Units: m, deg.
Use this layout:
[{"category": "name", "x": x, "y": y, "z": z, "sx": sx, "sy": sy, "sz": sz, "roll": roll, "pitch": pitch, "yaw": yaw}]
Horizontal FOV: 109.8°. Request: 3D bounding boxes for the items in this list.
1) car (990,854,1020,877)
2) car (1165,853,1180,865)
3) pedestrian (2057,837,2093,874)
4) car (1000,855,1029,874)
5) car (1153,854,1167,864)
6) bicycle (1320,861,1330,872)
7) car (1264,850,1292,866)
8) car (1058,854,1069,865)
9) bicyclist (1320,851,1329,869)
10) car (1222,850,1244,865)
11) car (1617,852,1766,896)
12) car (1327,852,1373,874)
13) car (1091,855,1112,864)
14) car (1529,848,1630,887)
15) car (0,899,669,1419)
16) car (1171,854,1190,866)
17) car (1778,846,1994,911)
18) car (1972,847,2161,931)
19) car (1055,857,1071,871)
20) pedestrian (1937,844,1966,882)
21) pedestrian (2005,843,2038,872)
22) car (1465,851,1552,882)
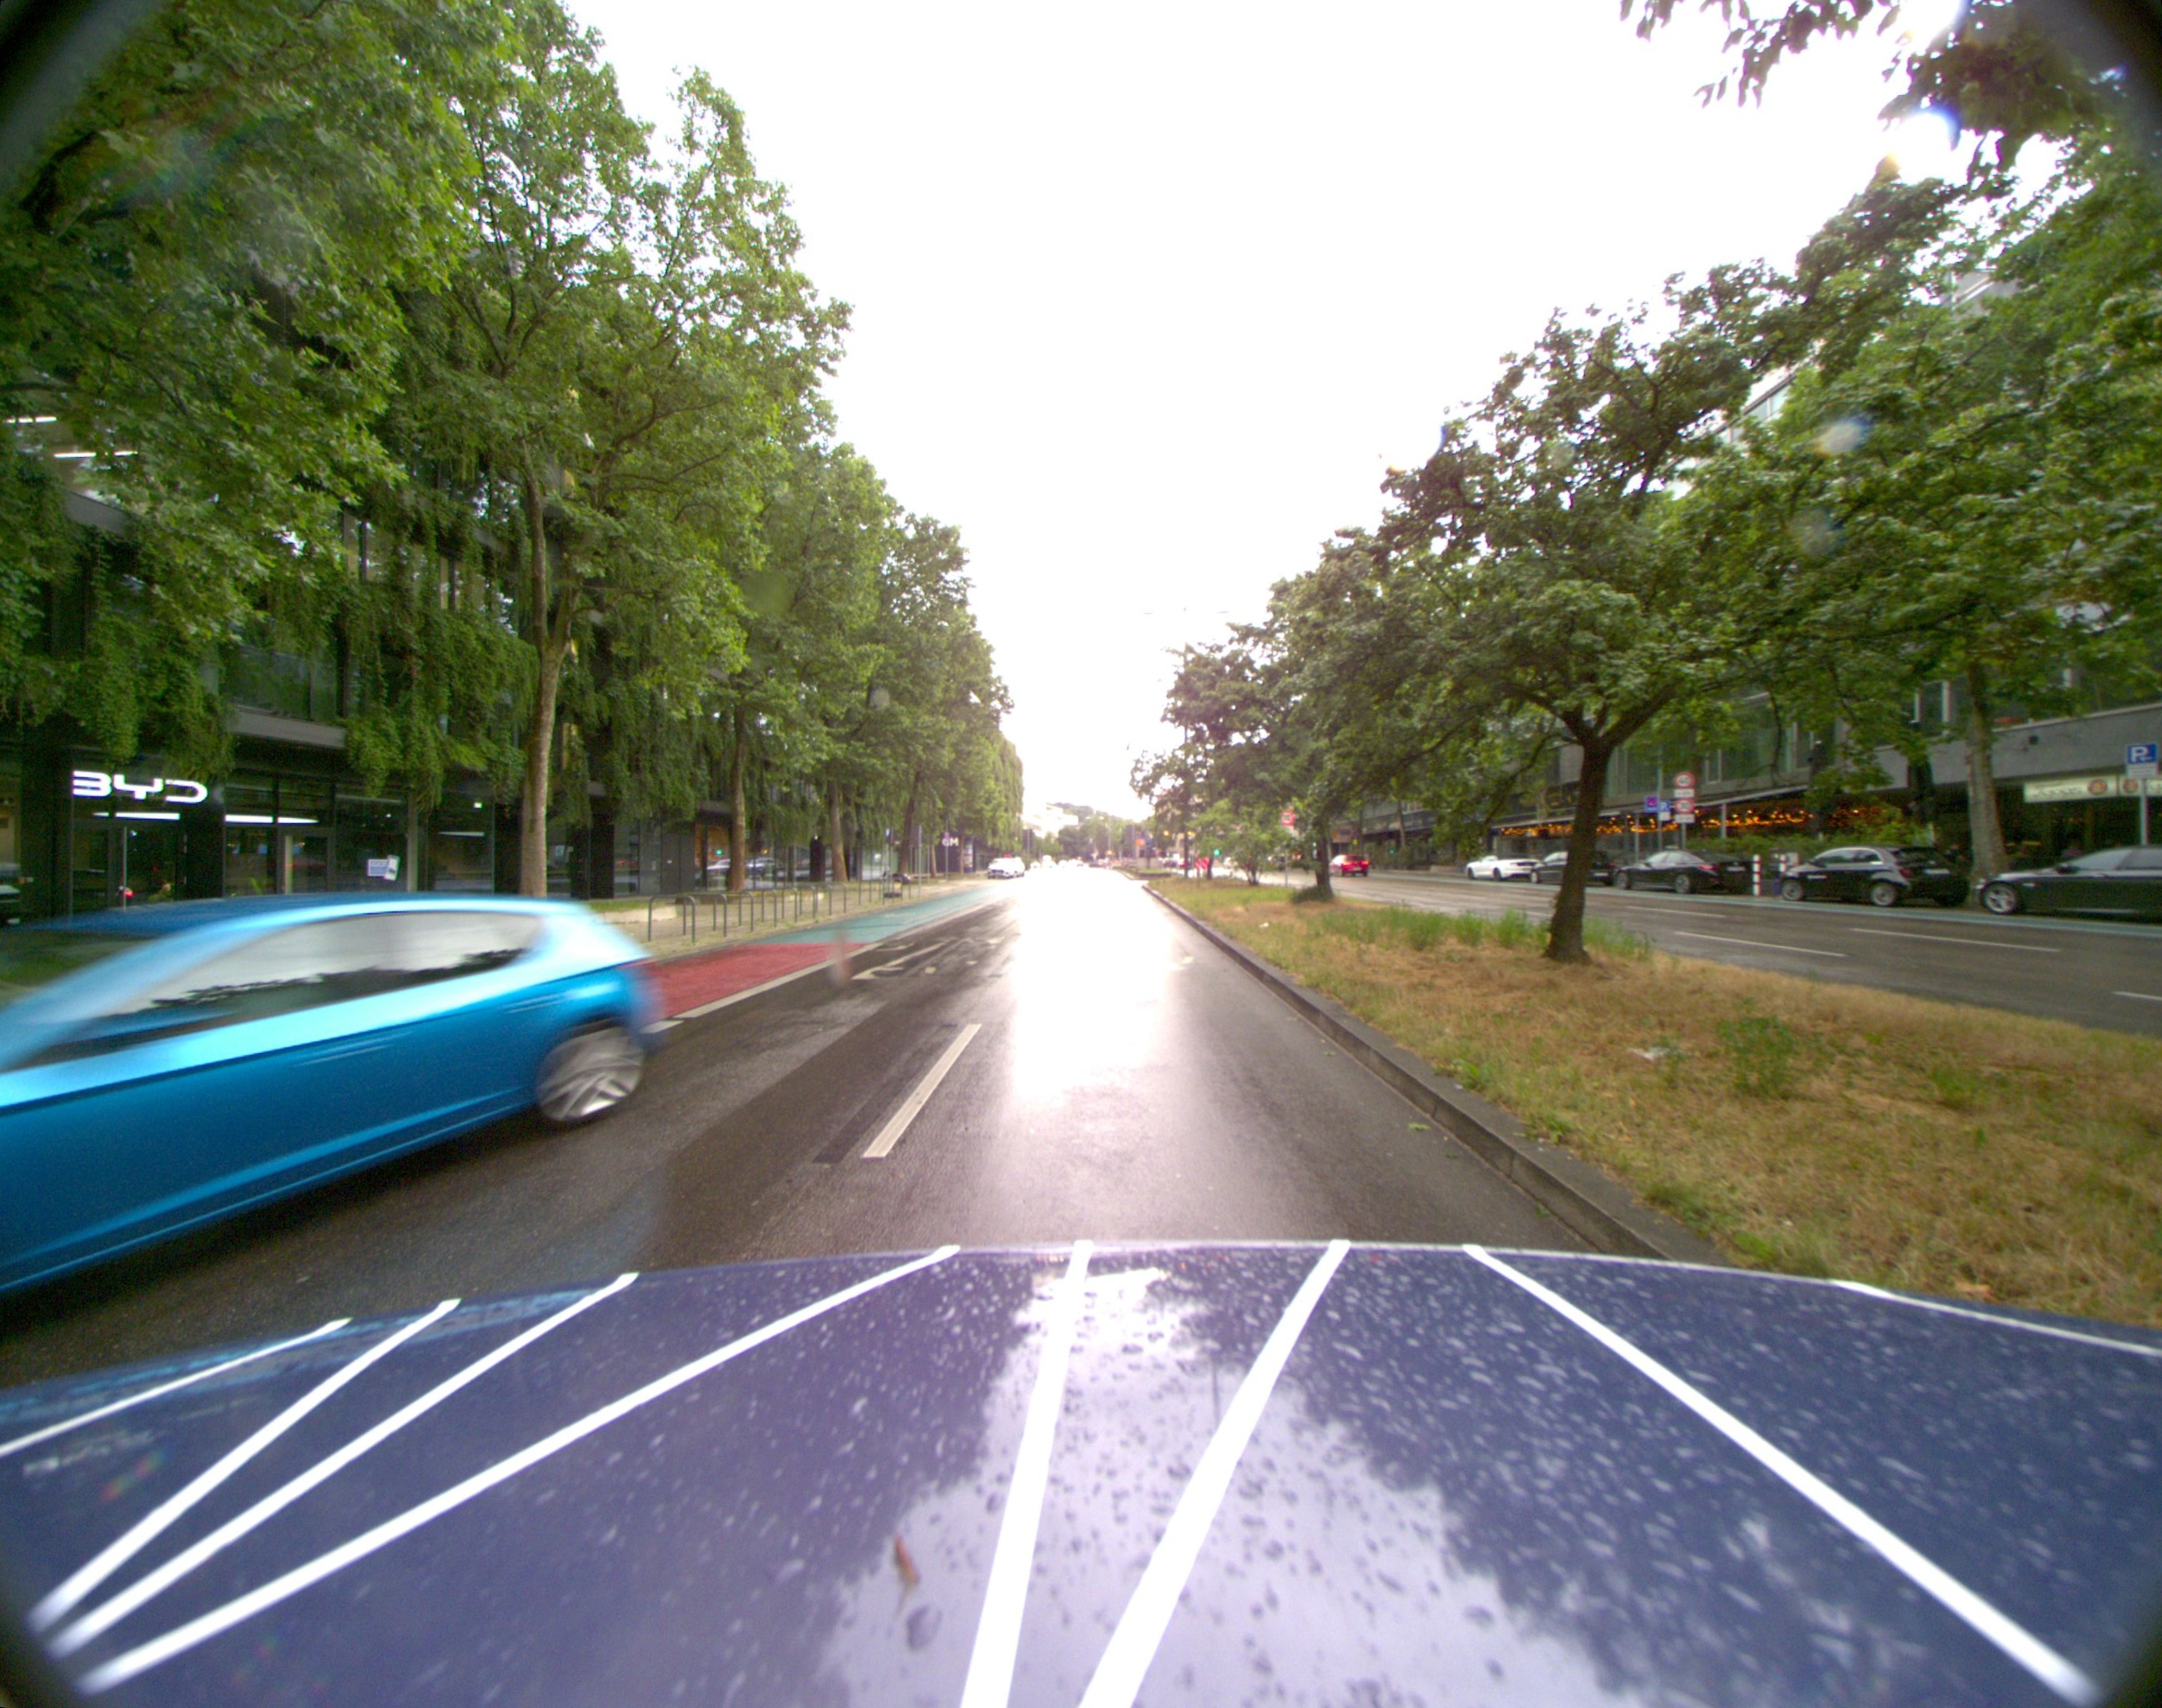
[{"category": "car", "x": -6.401, "y": 0.975, "z": 64.312, "sx": 1.932, "sy": 1.726, "sz": 4.598, "roll": -2, "pitch": 1, "yaw": 0}, {"category": "car", "x": 13.023, "y": 0.716, "z": 107.925, "sx": 1.881, "sy": 1.567, "sz": 3.820, "roll": -2, "pitch": 1, "yaw": 3}, {"category": "pedestrian", "x": 27.751, "y": 0.039, "z": 21.213, "sx": 0.464, "sy": 1.010, "sz": 0.424, "roll": -2, "pitch": 1, "yaw": -1}, {"category": "car", "x": -6.091, "y": 0.942, "z": 70.384, "sx": 2.036, "sy": 1.553, "sz": 4.585, "roll": -2, "pitch": 1, "yaw": 2}, {"category": "car", "x": 12.240, "y": 0.797, "z": 118.488, "sx": 1.678, "sy": 1.381, "sz": 3.527, "roll": -2, "pitch": 1, "yaw": -2}, {"category": "bicycle", "x": 22.022, "y": 1.124, "z": 68.703, "sx": 0.714, "sy": 0.838, "sz": 2.233, "roll": -2, "pitch": 1, "yaw": 14}, {"category": "car", "x": 18.671, "y": 0.374, "z": 72.183, "sx": 1.868, "sy": 1.408, "sz": 4.105, "roll": -2, "pitch": 1, "yaw": 4}, {"category": "car", "x": -2.715, "y": 0.864, "z": 120.301, "sx": 1.556, "sy": 1.534, "sz": 3.663, "roll": -2, "pitch": 1, "yaw": 1}, {"category": "bicyclist", "x": 22.002, "y": 0.558, "z": 68.686, "sx": 0.714, "sy": 1.561, "sz": 0.610, "roll": -2, "pitch": 1, "yaw": 14}, {"category": "car", "x": 19.823, "y": 0.395, "z": 99.271, "sx": 1.998, "sy": 1.805, "sz": 3.999, "roll": -2, "pitch": 1, "yaw": 0}, {"category": "car", "x": 20.221, "y": 0.603, "z": 25.425, "sx": 1.647, "sy": 1.232, "sz": 4.319, "roll": -2, "pitch": 1, "yaw": 3}, {"category": "car", "x": 17.824, "y": 0.575, "z": 50.499, "sx": 1.765, "sy": 1.318, "sz": 3.738, "roll": -2, "pitch": 1, "yaw": 2}, {"category": "car", "x": 3.762, "y": 1.039, "z": 141.166, "sx": 3.451, "sy": 1.450, "sz": 1.653, "roll": -2, "pitch": 1, "yaw": 29}, {"category": "car", "x": 20.493, "y": 0.514, "z": 31.414, "sx": 1.750, "sy": 1.445, "sz": 3.788, "roll": -2, "pitch": 1, "yaw": 2}, {"category": "car", "x": -4.116, "y": 1.067, "z": 3.237, "sx": 1.798, "sy": 1.428, "sz": 4.067, "roll": 0, "pitch": 1, "yaw": 16}, {"category": "car", "x": 12.292, "y": 0.751, "z": 94.041, "sx": 1.678, "sy": 1.381, "sz": 3.527, "roll": -2, "pitch": 1, "yaw": -2}, {"category": "car", "x": 20.068, "y": 0.549, "z": 19.168, "sx": 1.875, "sy": 1.414, "sz": 3.400, "roll": -2, "pitch": 1, "yaw": 2}, {"category": "car", "x": 19.881, "y": 0.609, "z": 13.968, "sx": 1.875, "sy": 1.377, "sz": 4.537, "roll": -2, "pitch": 1, "yaw": 5}, {"category": "car", "x": -2.198, "y": 1.201, "z": 95.465, "sx": 1.780, "sy": 1.546, "sz": 3.929, "roll": -2, "pitch": 1, "yaw": 1}, {"category": "pedestrian", "x": 27.729, "y": 0.285, "z": 24.201, "sx": 0.466, "sy": 1.179, "sz": 0.446, "roll": -2, "pitch": 2, "yaw": 24}, {"category": "pedestrian", "x": 27.939, "y": 0.096, "z": 22.580, "sx": 0.440, "sy": 0.845, "sz": 0.433, "roll": -2, "pitch": 1, "yaw": -1}, {"category": "car", "x": 20.751, "y": 0.567, "z": 37.112, "sx": 1.881, "sy": 1.318, "sz": 4.392, "roll": -2, "pitch": 1, "yaw": 2}]
